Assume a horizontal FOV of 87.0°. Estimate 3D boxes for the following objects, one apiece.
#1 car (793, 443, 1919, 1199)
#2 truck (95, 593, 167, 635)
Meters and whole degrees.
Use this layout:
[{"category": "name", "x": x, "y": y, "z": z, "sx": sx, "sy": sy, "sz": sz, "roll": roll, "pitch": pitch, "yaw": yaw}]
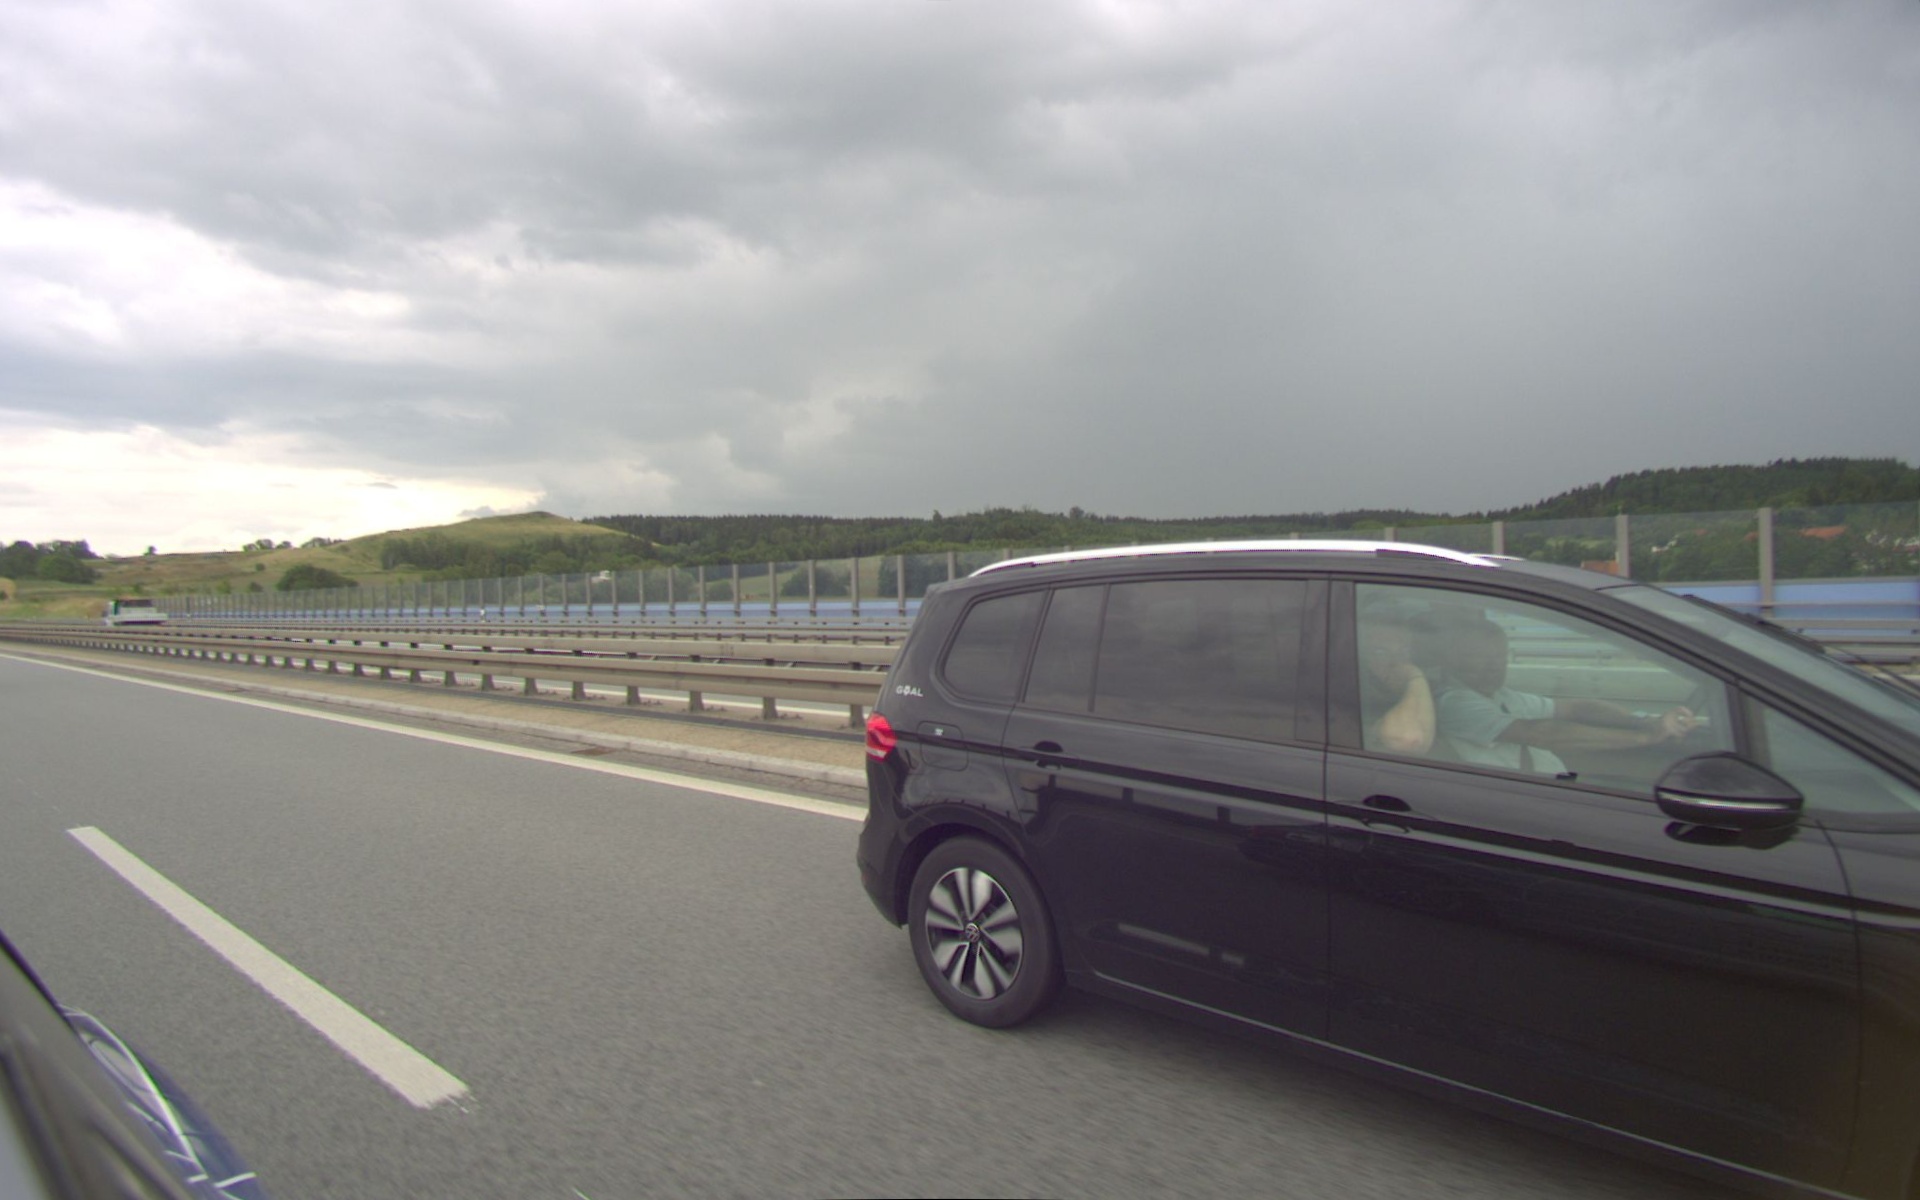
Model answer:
[{"category": "car", "x": 2.001, "y": 0.552, "z": 2.867, "sx": 5.394, "sy": 1.683, "sz": 1.876, "roll": -1, "pitch": 0, "yaw": 41}, {"category": "truck", "x": -51.560, "y": 0.865, "z": 62.878, "sx": 7.447, "sy": 2.450, "sz": 2.249, "roll": -1, "pitch": 0, "yaw": 41}]
